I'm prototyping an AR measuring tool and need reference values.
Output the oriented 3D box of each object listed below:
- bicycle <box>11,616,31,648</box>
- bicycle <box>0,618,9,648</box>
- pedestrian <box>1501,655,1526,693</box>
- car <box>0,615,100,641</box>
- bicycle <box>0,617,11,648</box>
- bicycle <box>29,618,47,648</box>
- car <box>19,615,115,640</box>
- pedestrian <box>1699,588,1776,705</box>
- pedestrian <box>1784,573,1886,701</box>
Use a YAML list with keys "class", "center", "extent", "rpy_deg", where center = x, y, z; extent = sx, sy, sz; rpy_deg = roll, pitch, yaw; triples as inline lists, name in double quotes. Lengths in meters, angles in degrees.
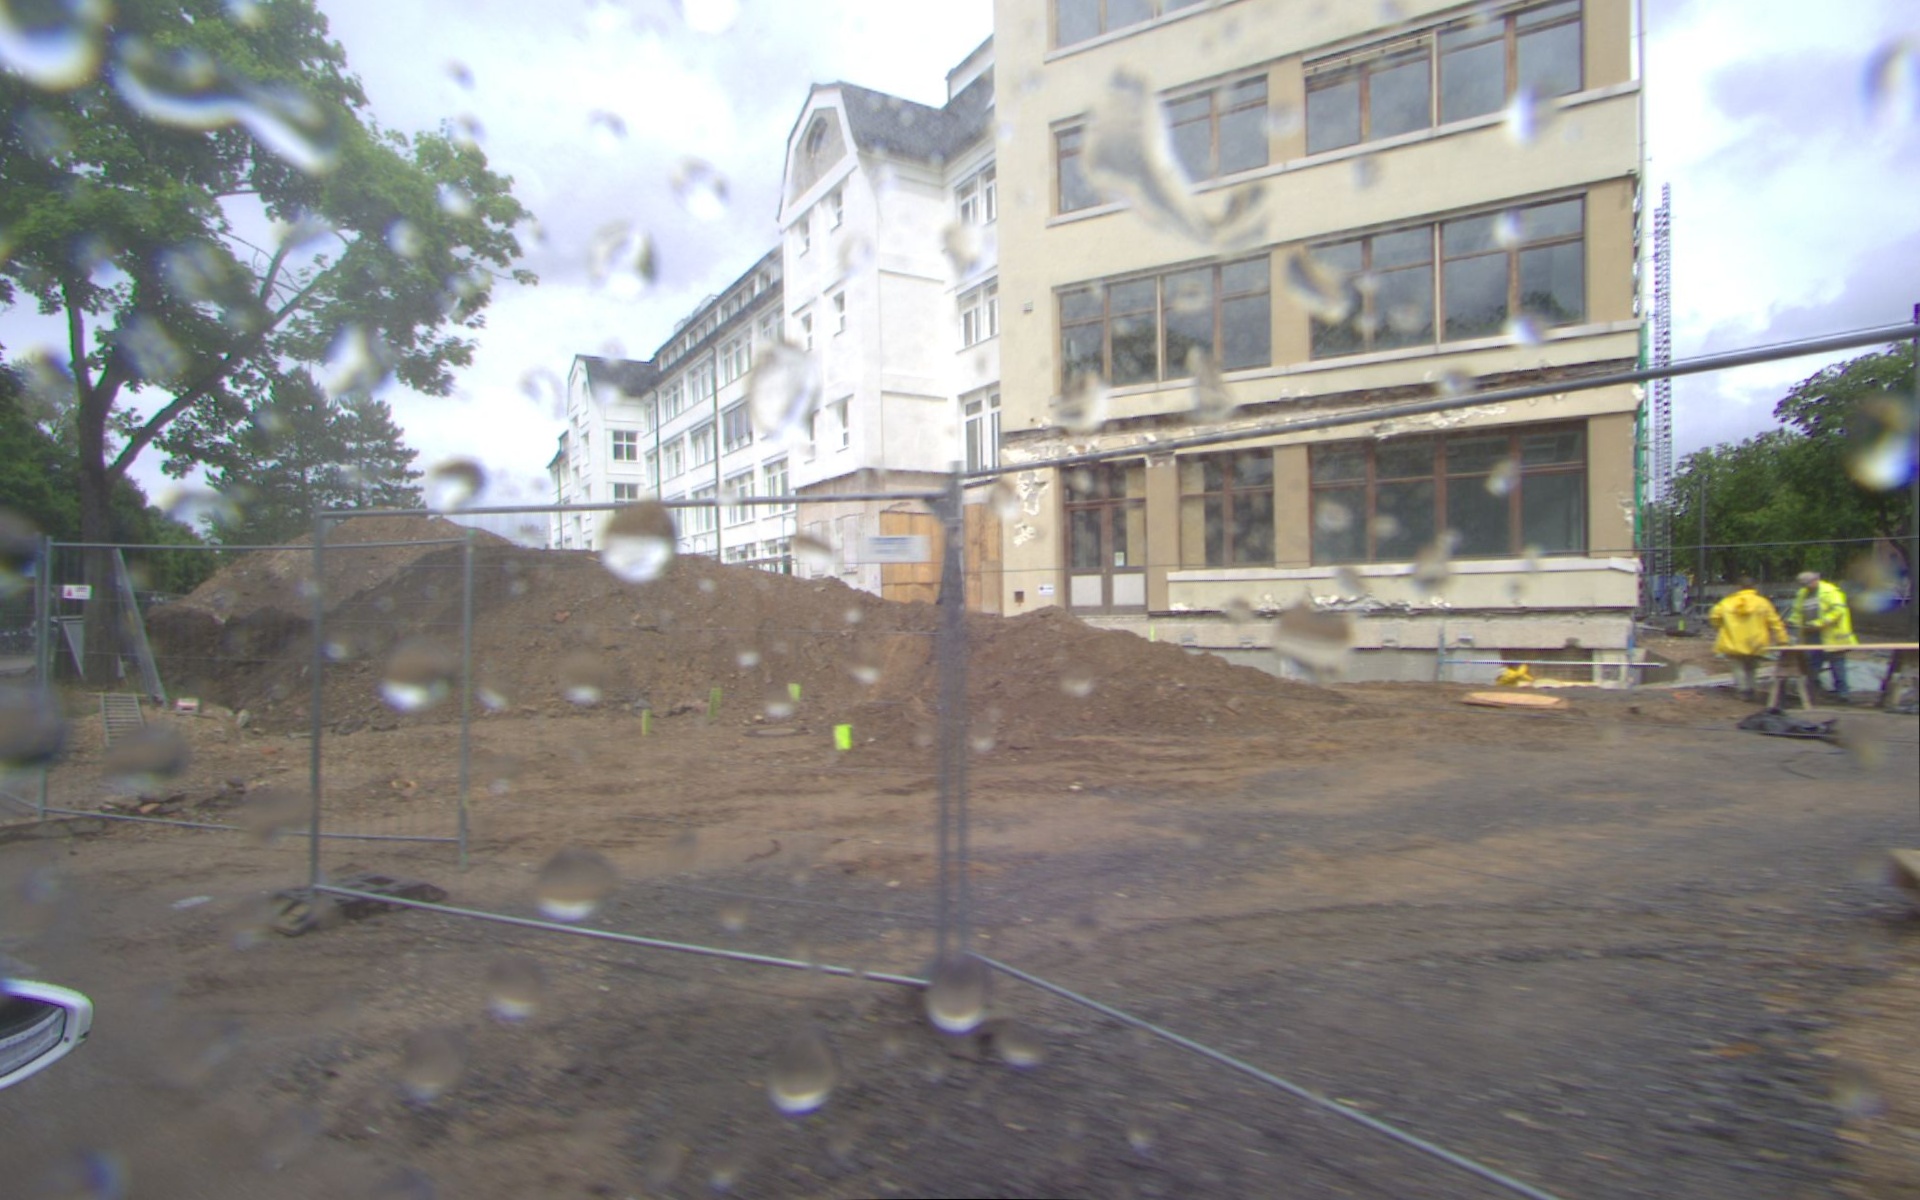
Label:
- class: "bicycle"
  center: [-40.154, 1.365, 42.805]
  extent: [0.592, 1.325, 2.644]
  rpy_deg: [0, -2, -43]
- class: "bicycle"
  center: [-43.467, 1.511, 45.357]
  extent: [0.592, 1.325, 2.644]
  rpy_deg: [0, -2, -43]
- class: "pedestrian"
  center: [10.178, 1.360, 18.414]
  extent: [0.386, 0.670, 0.345]
  rpy_deg: [0, 1, 27]
- class: "car"
  center: [-52.146, 1.603, 57.457]
  extent: [3.993, 1.427, 1.971]
  rpy_deg: [0, -2, -33]
- class: "bicycle"
  center: [-40.571, 1.373, 42.356]
  extent: [0.592, 1.283, 2.644]
  rpy_deg: [0, -2, -43]
- class: "bicycle"
  center: [-42.553, 1.523, 46.215]
  extent: [0.592, 1.325, 2.644]
  rpy_deg: [0, -2, -43]
- class: "car"
  center: [-53.167, 1.636, 59.730]
  extent: [3.993, 1.427, 1.971]
  rpy_deg: [0, -2, -33]
- class: "pedestrian"
  center: [10.469, 0.613, 13.503]
  extent: [0.637, 1.529, 0.624]
  rpy_deg: [0, 1, 17]
- class: "pedestrian"
  center: [11.943, 0.494, 13.686]
  extent: [0.699, 1.696, 0.777]
  rpy_deg: [0, 1, -6]
